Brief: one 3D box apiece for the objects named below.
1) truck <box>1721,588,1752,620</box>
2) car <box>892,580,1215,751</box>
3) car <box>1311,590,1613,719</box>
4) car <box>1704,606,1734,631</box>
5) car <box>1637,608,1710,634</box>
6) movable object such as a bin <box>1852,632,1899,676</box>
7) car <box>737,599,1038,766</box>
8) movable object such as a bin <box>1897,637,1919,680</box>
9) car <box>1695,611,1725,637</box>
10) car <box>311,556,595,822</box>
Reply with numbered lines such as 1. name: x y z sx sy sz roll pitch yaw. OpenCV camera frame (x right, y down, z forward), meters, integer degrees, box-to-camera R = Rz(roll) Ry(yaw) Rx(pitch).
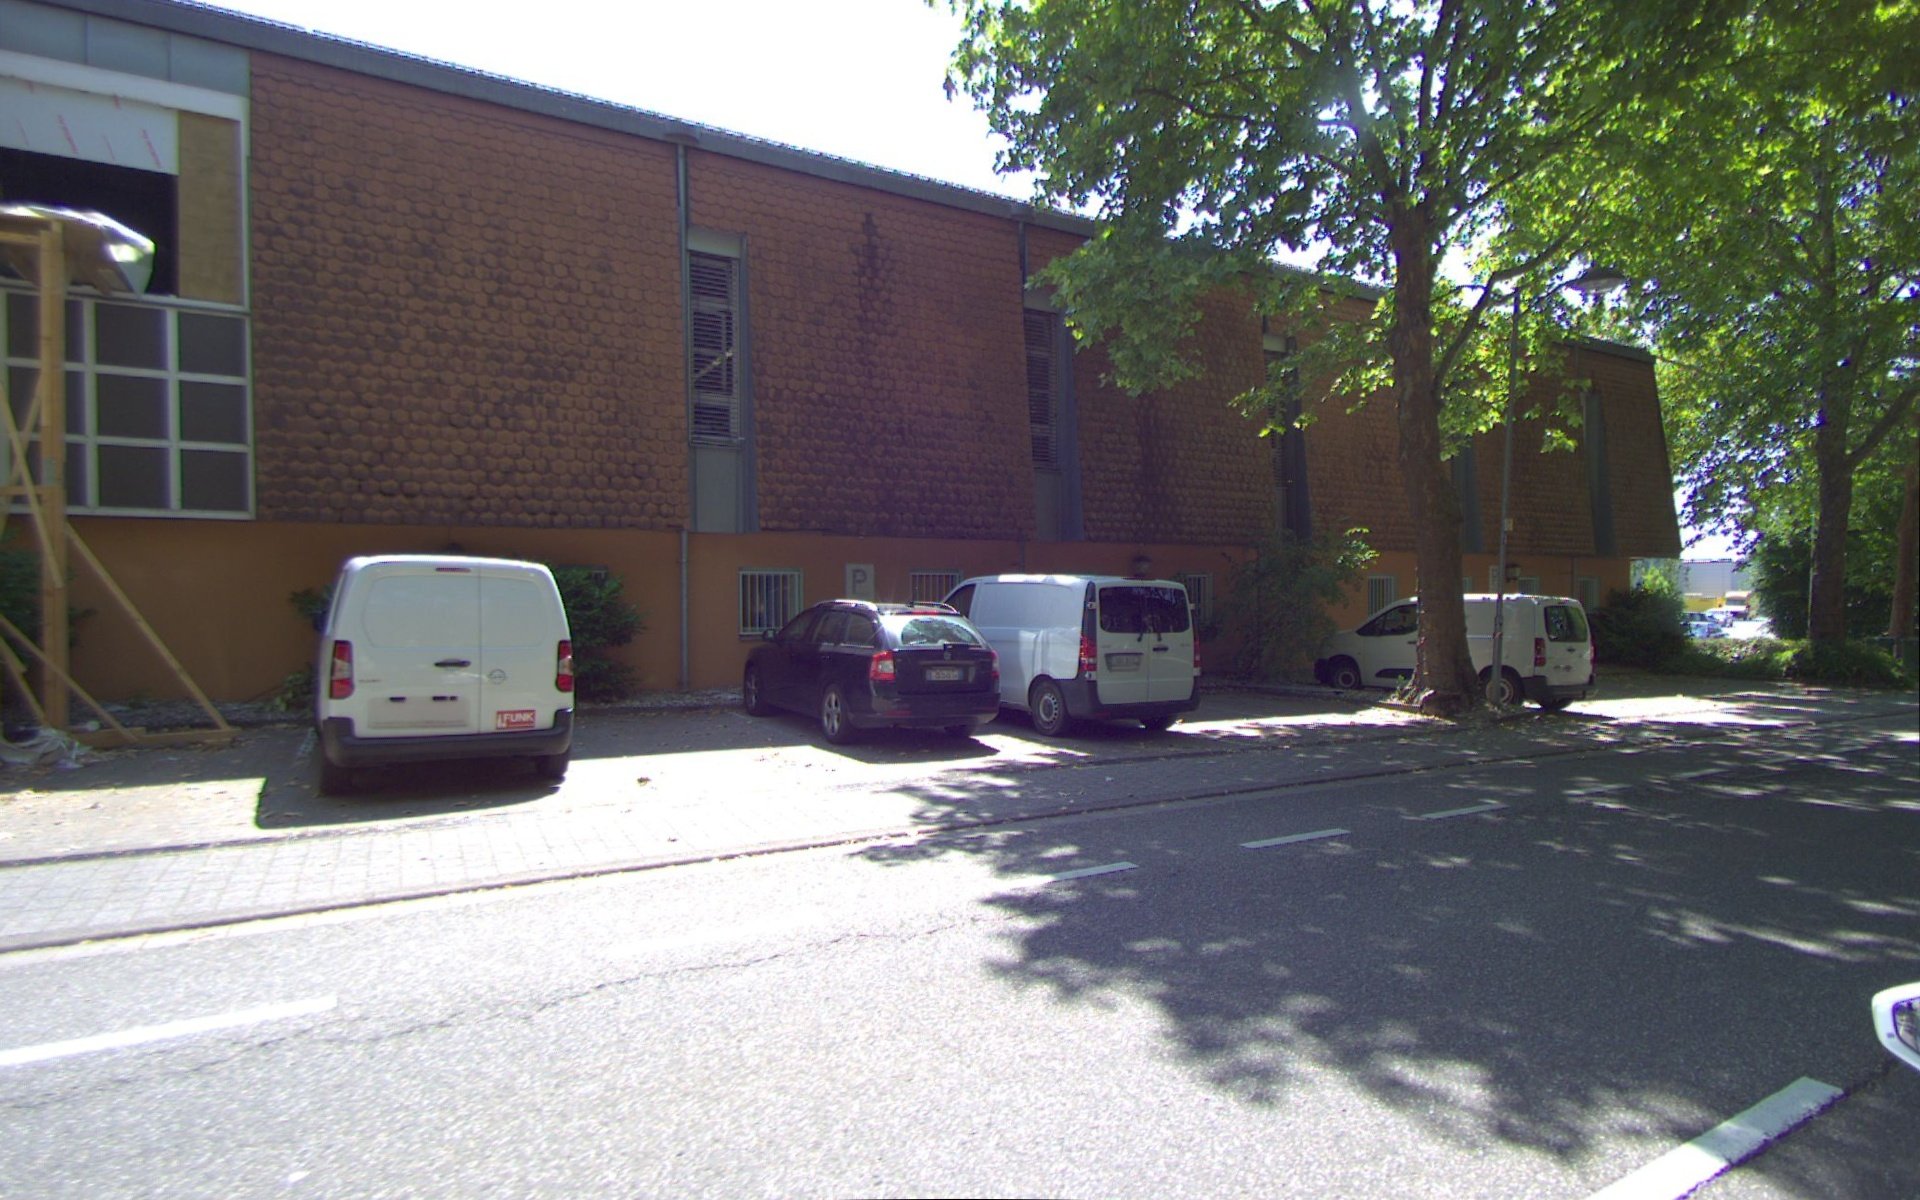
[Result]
1. truck: 78.371 0.429 101.442 2.291 2.930 6.559 0 -2 37
2. car: 1.000 0.681 13.082 1.883 1.828 4.398 1 0 -33
3. car: 8.190 0.788 16.751 1.883 1.828 4.104 1 0 -33
4. car: 51.319 1.255 67.916 1.581 1.606 3.755 0 -2 38
5. car: 45.460 1.346 64.041 3.710 1.607 1.599 -1 -1 38
6. movable object such as a bin: 23.696 1.382 25.998 0.693 1.092 0.731 0 -1 -31
7. car: -1.026 0.801 11.745 1.848 1.535 3.964 1 0 -33
8. movable object such as a bin: 24.167 1.469 25.353 0.613 1.062 0.620 0 -1 -31
9. car: 63.149 2.017 84.589 1.969 2.040 3.985 0 -2 38
10. car: -4.706 0.594 9.037 1.848 1.816 3.964 1 0 -33
